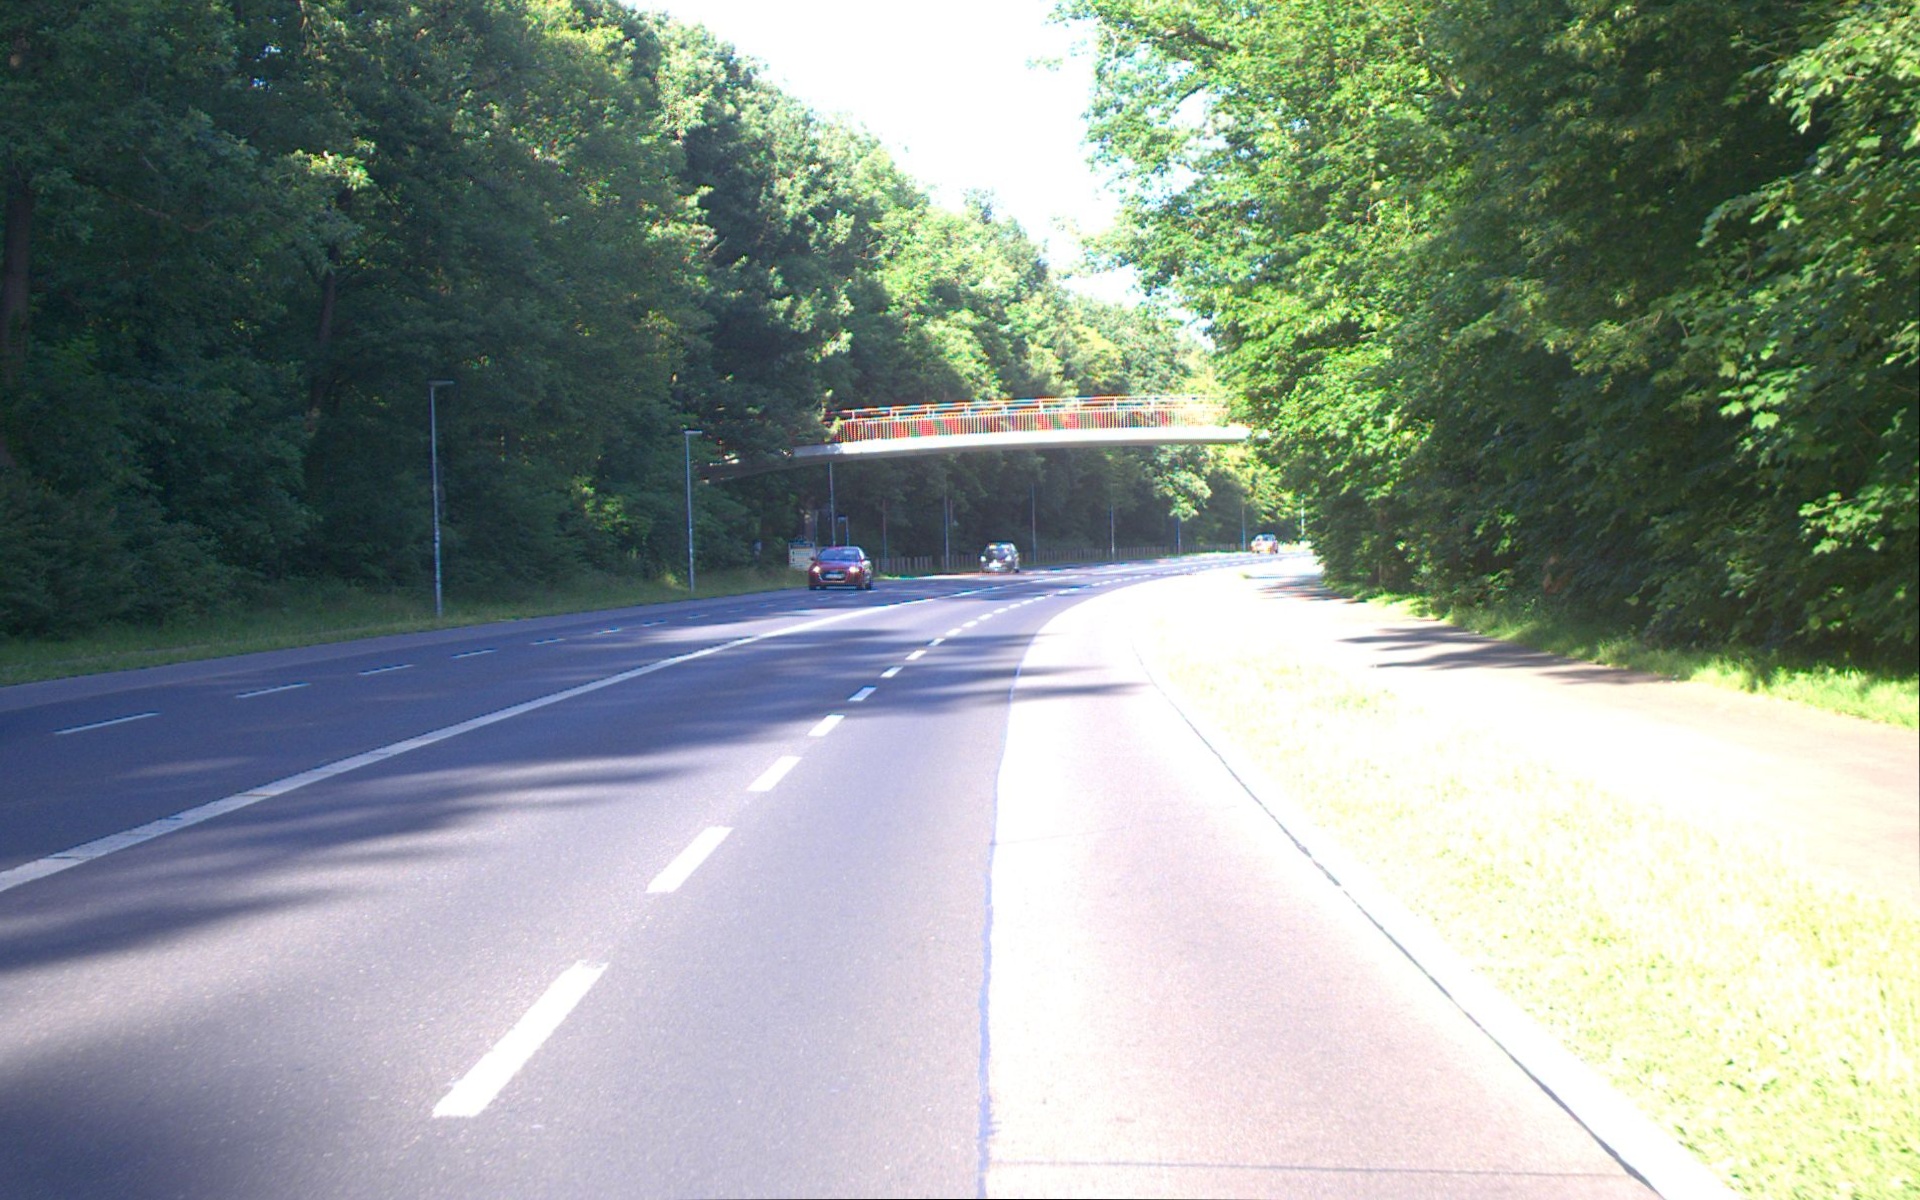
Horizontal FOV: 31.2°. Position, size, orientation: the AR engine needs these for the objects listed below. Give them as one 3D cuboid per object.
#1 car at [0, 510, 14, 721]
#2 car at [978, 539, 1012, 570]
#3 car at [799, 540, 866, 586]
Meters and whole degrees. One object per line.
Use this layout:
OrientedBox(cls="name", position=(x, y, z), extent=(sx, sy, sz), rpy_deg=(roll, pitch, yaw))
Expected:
OrientedBox(cls="car", position=(-8.447, 0.160, 25.057), extent=(1.807, 1.657, 4.522), rpy_deg=(0, 1, 1))
OrientedBox(cls="car", position=(1.684, -2.173, 163.208), extent=(1.495, 1.439, 3.500), rpy_deg=(-1, 1, 2))
OrientedBox(cls="car", position=(-4.094, -1.212, 110.844), extent=(1.710, 1.418, 4.130), rpy_deg=(-1, 1, 4))
